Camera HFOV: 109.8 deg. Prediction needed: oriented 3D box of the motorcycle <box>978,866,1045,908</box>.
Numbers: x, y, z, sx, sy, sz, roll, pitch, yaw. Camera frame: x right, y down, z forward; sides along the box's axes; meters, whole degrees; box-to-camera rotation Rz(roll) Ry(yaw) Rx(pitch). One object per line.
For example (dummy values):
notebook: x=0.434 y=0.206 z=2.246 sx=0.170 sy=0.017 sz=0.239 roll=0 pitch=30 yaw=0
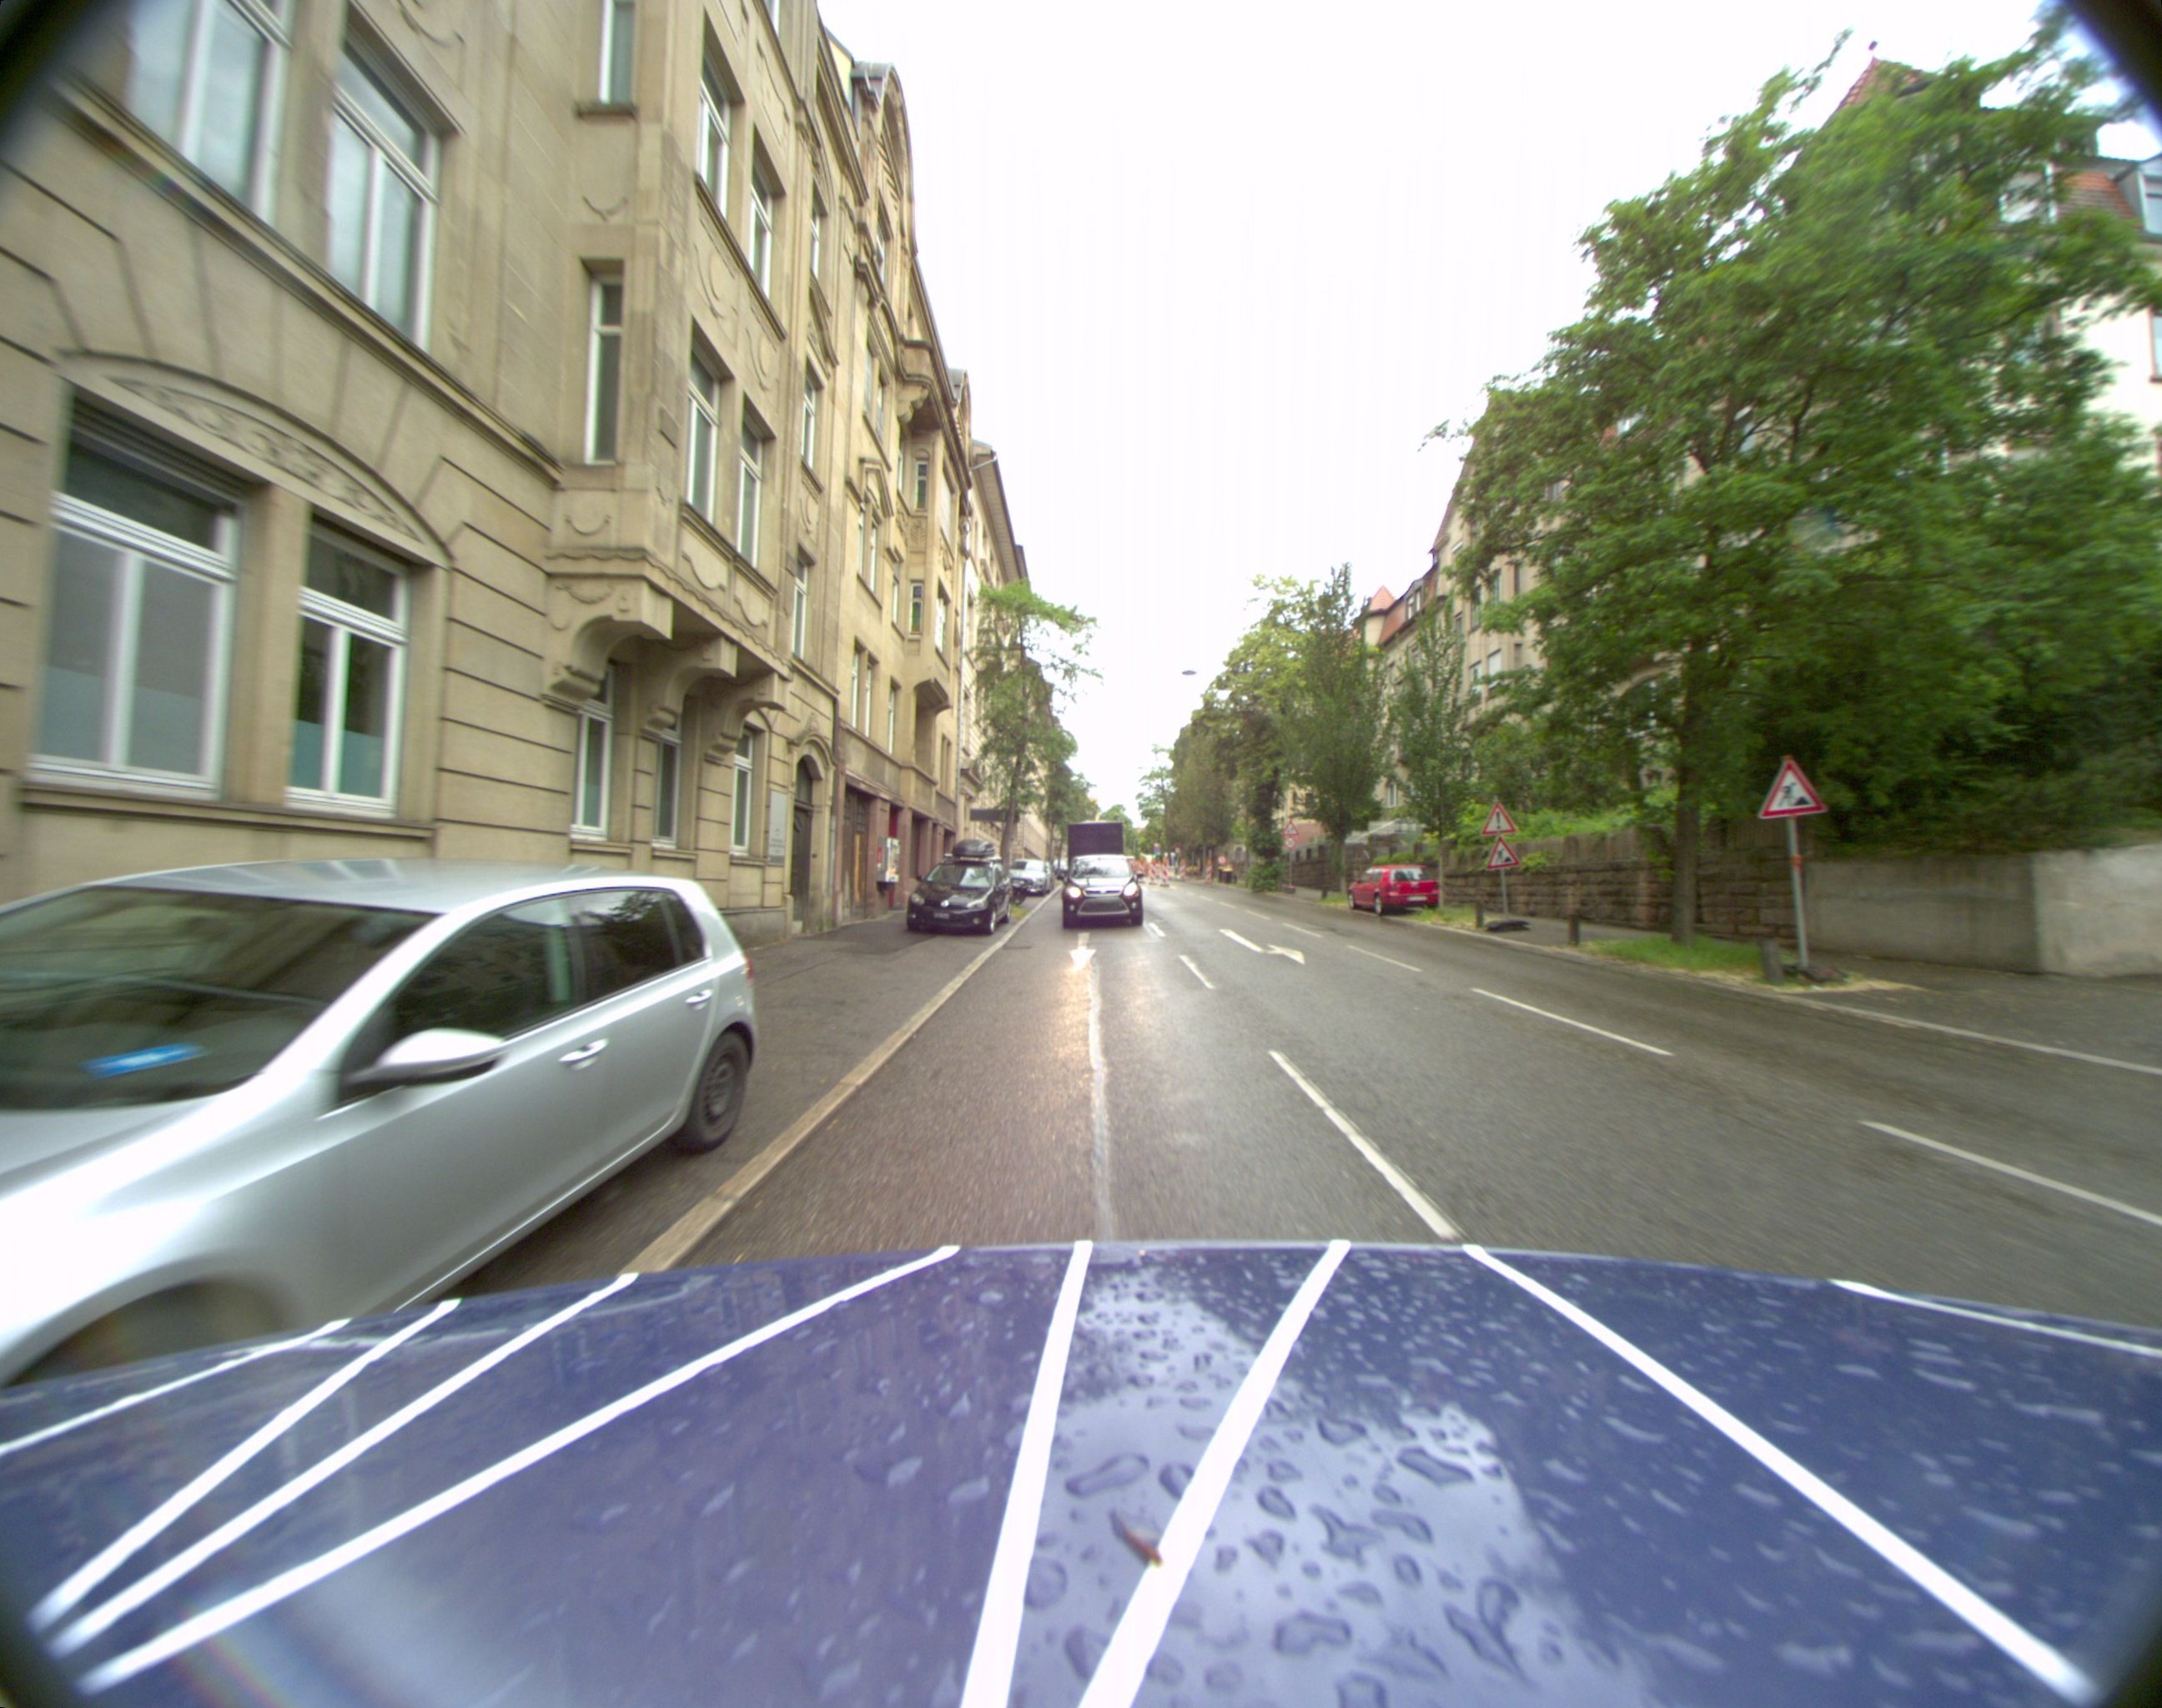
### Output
motorcycle: x=-2.145 y=1.036 z=23.766 sx=0.523 sy=1.236 sz=2.282 roll=3 pitch=-1 yaw=41

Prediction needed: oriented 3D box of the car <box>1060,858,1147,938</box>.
car: x=0.555 y=0.934 z=18.342 sx=1.823 sy=1.662 sz=4.522 roll=-1 pitch=0 yaw=2

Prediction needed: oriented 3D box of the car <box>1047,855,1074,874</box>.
car: x=-1.644 y=0.843 z=63.445 sx=1.910 sy=1.503 sz=4.318 roll=3 pitch=0 yaw=2

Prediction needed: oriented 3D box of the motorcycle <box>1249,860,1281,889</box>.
motorcycle: x=9.431 y=1.040 z=39.082 sx=0.802 sy=1.406 sz=3.061 roll=-2 pitch=0 yaw=-2

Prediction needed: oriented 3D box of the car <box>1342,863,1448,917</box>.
car: x=9.386 y=1.015 z=23.054 sx=1.617 sy=1.442 sz=4.064 roll=-1 pitch=0 yaw=2

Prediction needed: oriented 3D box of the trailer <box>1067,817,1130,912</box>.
trailer: x=0.533 y=0.287 z=24.429 sx=1.783 sy=2.744 sz=4.816 roll=-1 pitch=1 yaw=0

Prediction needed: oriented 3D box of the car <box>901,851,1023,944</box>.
car: x=-2.437 y=0.828 z=16.564 sx=1.764 sy=1.641 sz=4.099 roll=4 pitch=0 yaw=2

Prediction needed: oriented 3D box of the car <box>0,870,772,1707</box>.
car: x=-2.760 y=0.879 z=2.421 sx=1.764 sy=1.443 sz=4.000 roll=4 pitch=0 yaw=1

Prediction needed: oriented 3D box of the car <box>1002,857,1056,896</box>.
car: x=-2.133 y=0.898 z=32.093 sx=1.794 sy=1.444 sz=4.039 roll=3 pitch=0 yaw=2
